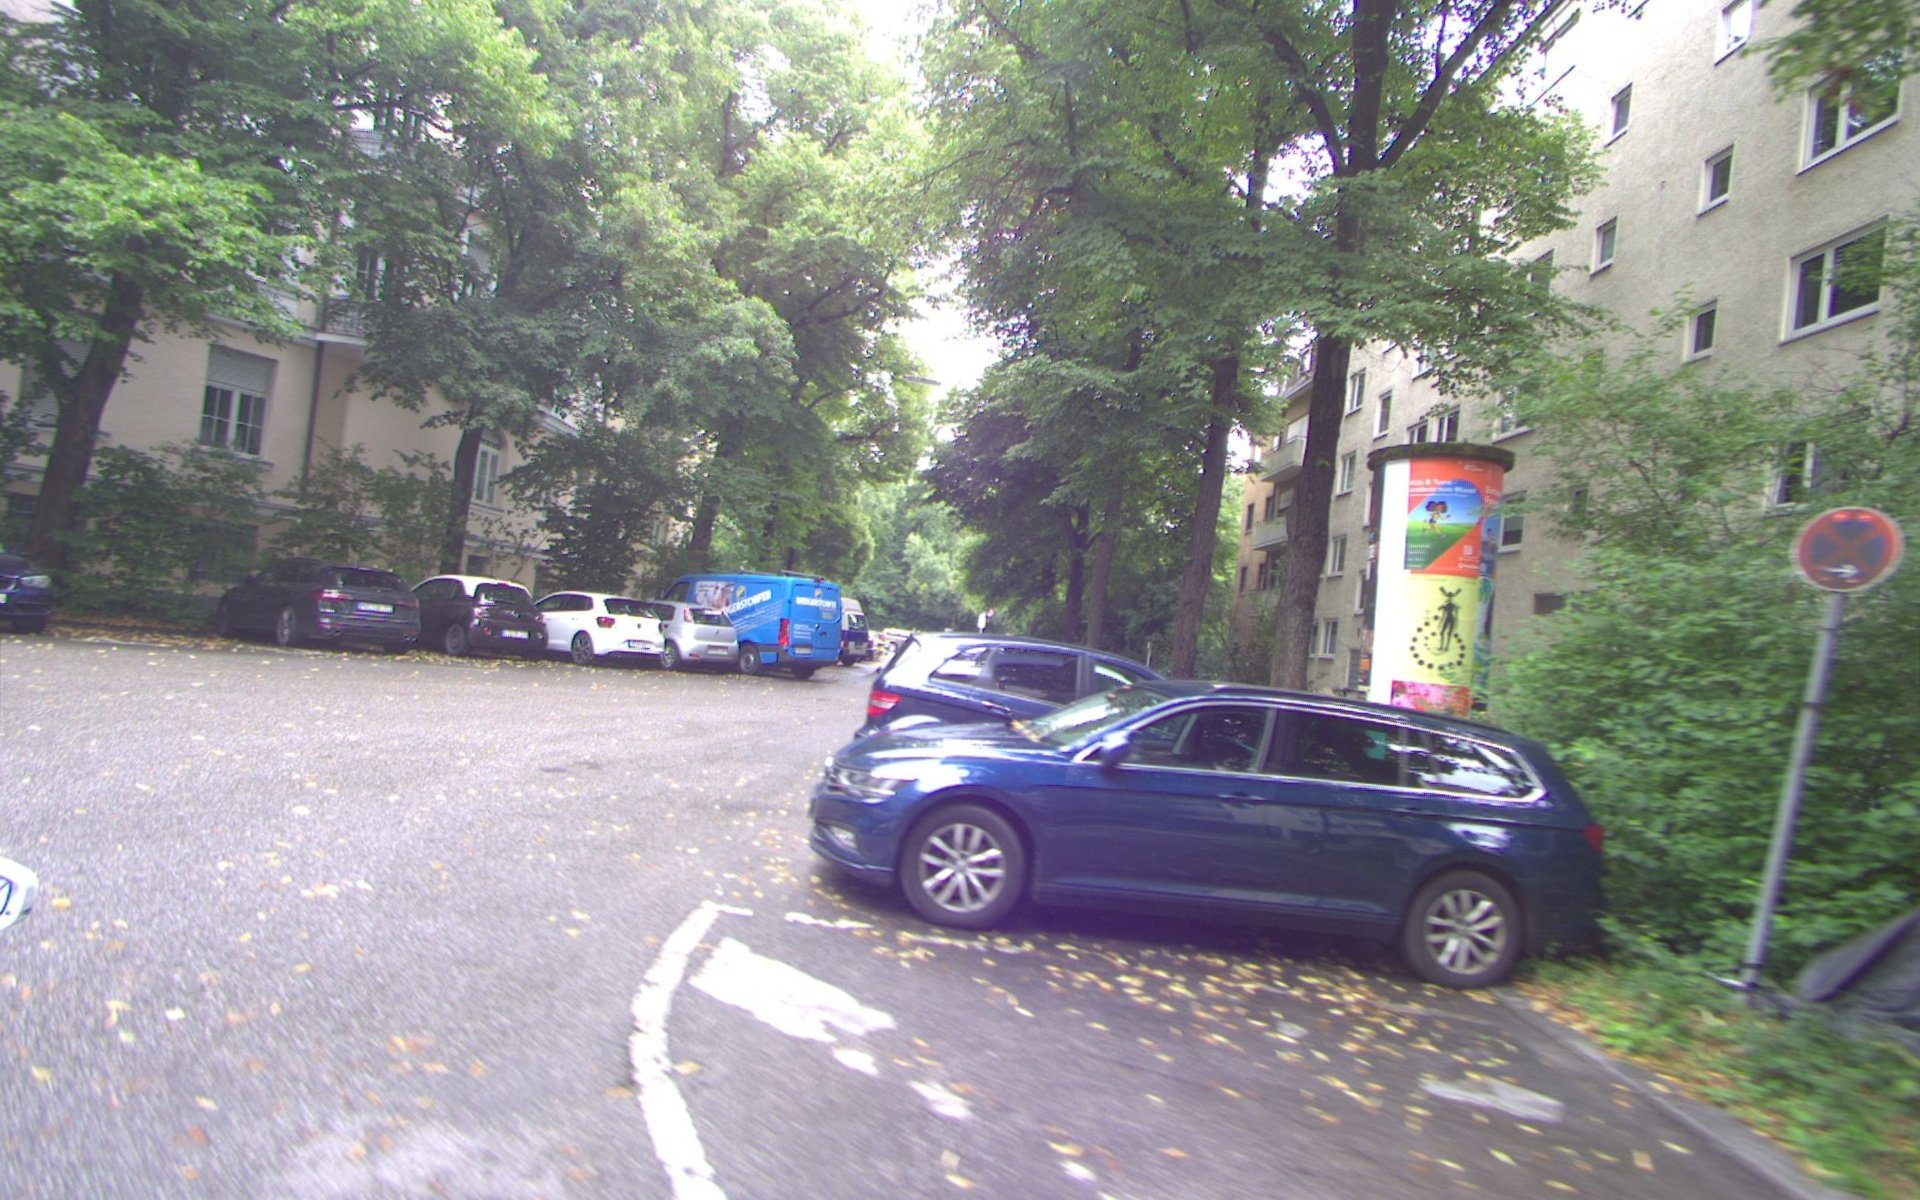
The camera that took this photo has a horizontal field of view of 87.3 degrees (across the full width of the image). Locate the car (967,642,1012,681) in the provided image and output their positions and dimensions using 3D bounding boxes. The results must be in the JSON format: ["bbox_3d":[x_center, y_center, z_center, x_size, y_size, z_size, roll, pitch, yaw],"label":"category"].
[{"bbox_3d":[1.246,2.658,44.097,1.656,1.373,4.011,8,-2,-1],"label":"car"}]

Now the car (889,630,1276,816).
[{"bbox_3d":[1.230,1.302,11.228,3.877,1.464,1.827,7,-2,-4],"label":"car"}]

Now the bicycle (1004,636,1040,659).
[{"bbox_3d":[3.197,2.430,51.655,1.724,0.993,0.273,6,-1,9],"label":"bicycle"}]

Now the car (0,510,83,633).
[{"bbox_3d":[-13.205,-0.530,12.697,4.269,1.399,1.843,5,-2,30],"label":"car"}]

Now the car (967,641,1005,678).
[{"bbox_3d":[1.282,2.835,48.352,1.622,1.491,3.646,7,-2,3],"label":"car"}]

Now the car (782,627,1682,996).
[{"bbox_3d":[1.422,1.155,6.191,4.649,1.393,1.960,7,-2,-4],"label":"car"}]

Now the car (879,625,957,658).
[{"bbox_3d":[-2.737,2.737,65.923,4.726,1.513,1.844,7,-1,5],"label":"car"}]

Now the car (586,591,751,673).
[{"bbox_3d":[-6.527,0.699,22.423,3.500,1.449,1.640,4,-3,36],"label":"car"}]

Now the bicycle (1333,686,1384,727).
[{"bbox_3d":[11.948,3.190,30.234,0.538,1.035,2.070,7,-2,-1],"label":"bicycle"}]

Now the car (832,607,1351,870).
[{"bbox_3d":[1.036,1.118,8.752,3.911,1.573,1.757,7,-1,0],"label":"car"}]

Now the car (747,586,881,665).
[{"bbox_3d":[-5.227,0.907,36.008,4.155,2.262,1.933,7,-1,24],"label":"car"}]

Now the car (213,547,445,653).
[{"bbox_3d":[-10.507,-0.028,16.666,4.102,1.442,1.858,3,-3,38],"label":"car"}]

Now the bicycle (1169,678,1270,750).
[{"bbox_3d":[4.932,2.166,19.055,1.855,1.177,0.759,8,-2,-37],"label":"bicycle"}]

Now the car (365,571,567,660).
[{"bbox_3d":[-9.405,0.281,19.095,3.694,1.441,1.828,1,-4,35],"label":"car"}]

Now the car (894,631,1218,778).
[{"bbox_3d":[1.227,1.394,13.819,4.025,1.410,1.733,7,-2,-8],"label":"car"}]

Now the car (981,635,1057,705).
[{"bbox_3d":[1.627,1.953,29.227,1.803,1.648,4.528,7,-2,0],"label":"car"}]

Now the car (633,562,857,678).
[{"bbox_3d":[-5.314,0.444,24.477,5.412,2.380,2.061,3,-3,36],"label":"car"}]

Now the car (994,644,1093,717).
[{"bbox_3d":[1.935,1.891,24.619,1.869,1.429,4.433,6,-2,-1],"label":"car"}]

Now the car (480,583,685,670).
[{"bbox_3d":[-7.882,0.525,20.877,4.220,1.530,1.799,1,-4,34],"label":"car"}]

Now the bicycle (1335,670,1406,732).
[{"bbox_3d":[8.872,2.160,21.819,0.438,1.137,1.769,7,-1,-10],"label":"bicycle"}]

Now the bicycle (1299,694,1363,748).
[{"bbox_3d":[8.932,2.921,24.164,1.756,1.137,0.441,9,-1,-36],"label":"bicycle"}]
